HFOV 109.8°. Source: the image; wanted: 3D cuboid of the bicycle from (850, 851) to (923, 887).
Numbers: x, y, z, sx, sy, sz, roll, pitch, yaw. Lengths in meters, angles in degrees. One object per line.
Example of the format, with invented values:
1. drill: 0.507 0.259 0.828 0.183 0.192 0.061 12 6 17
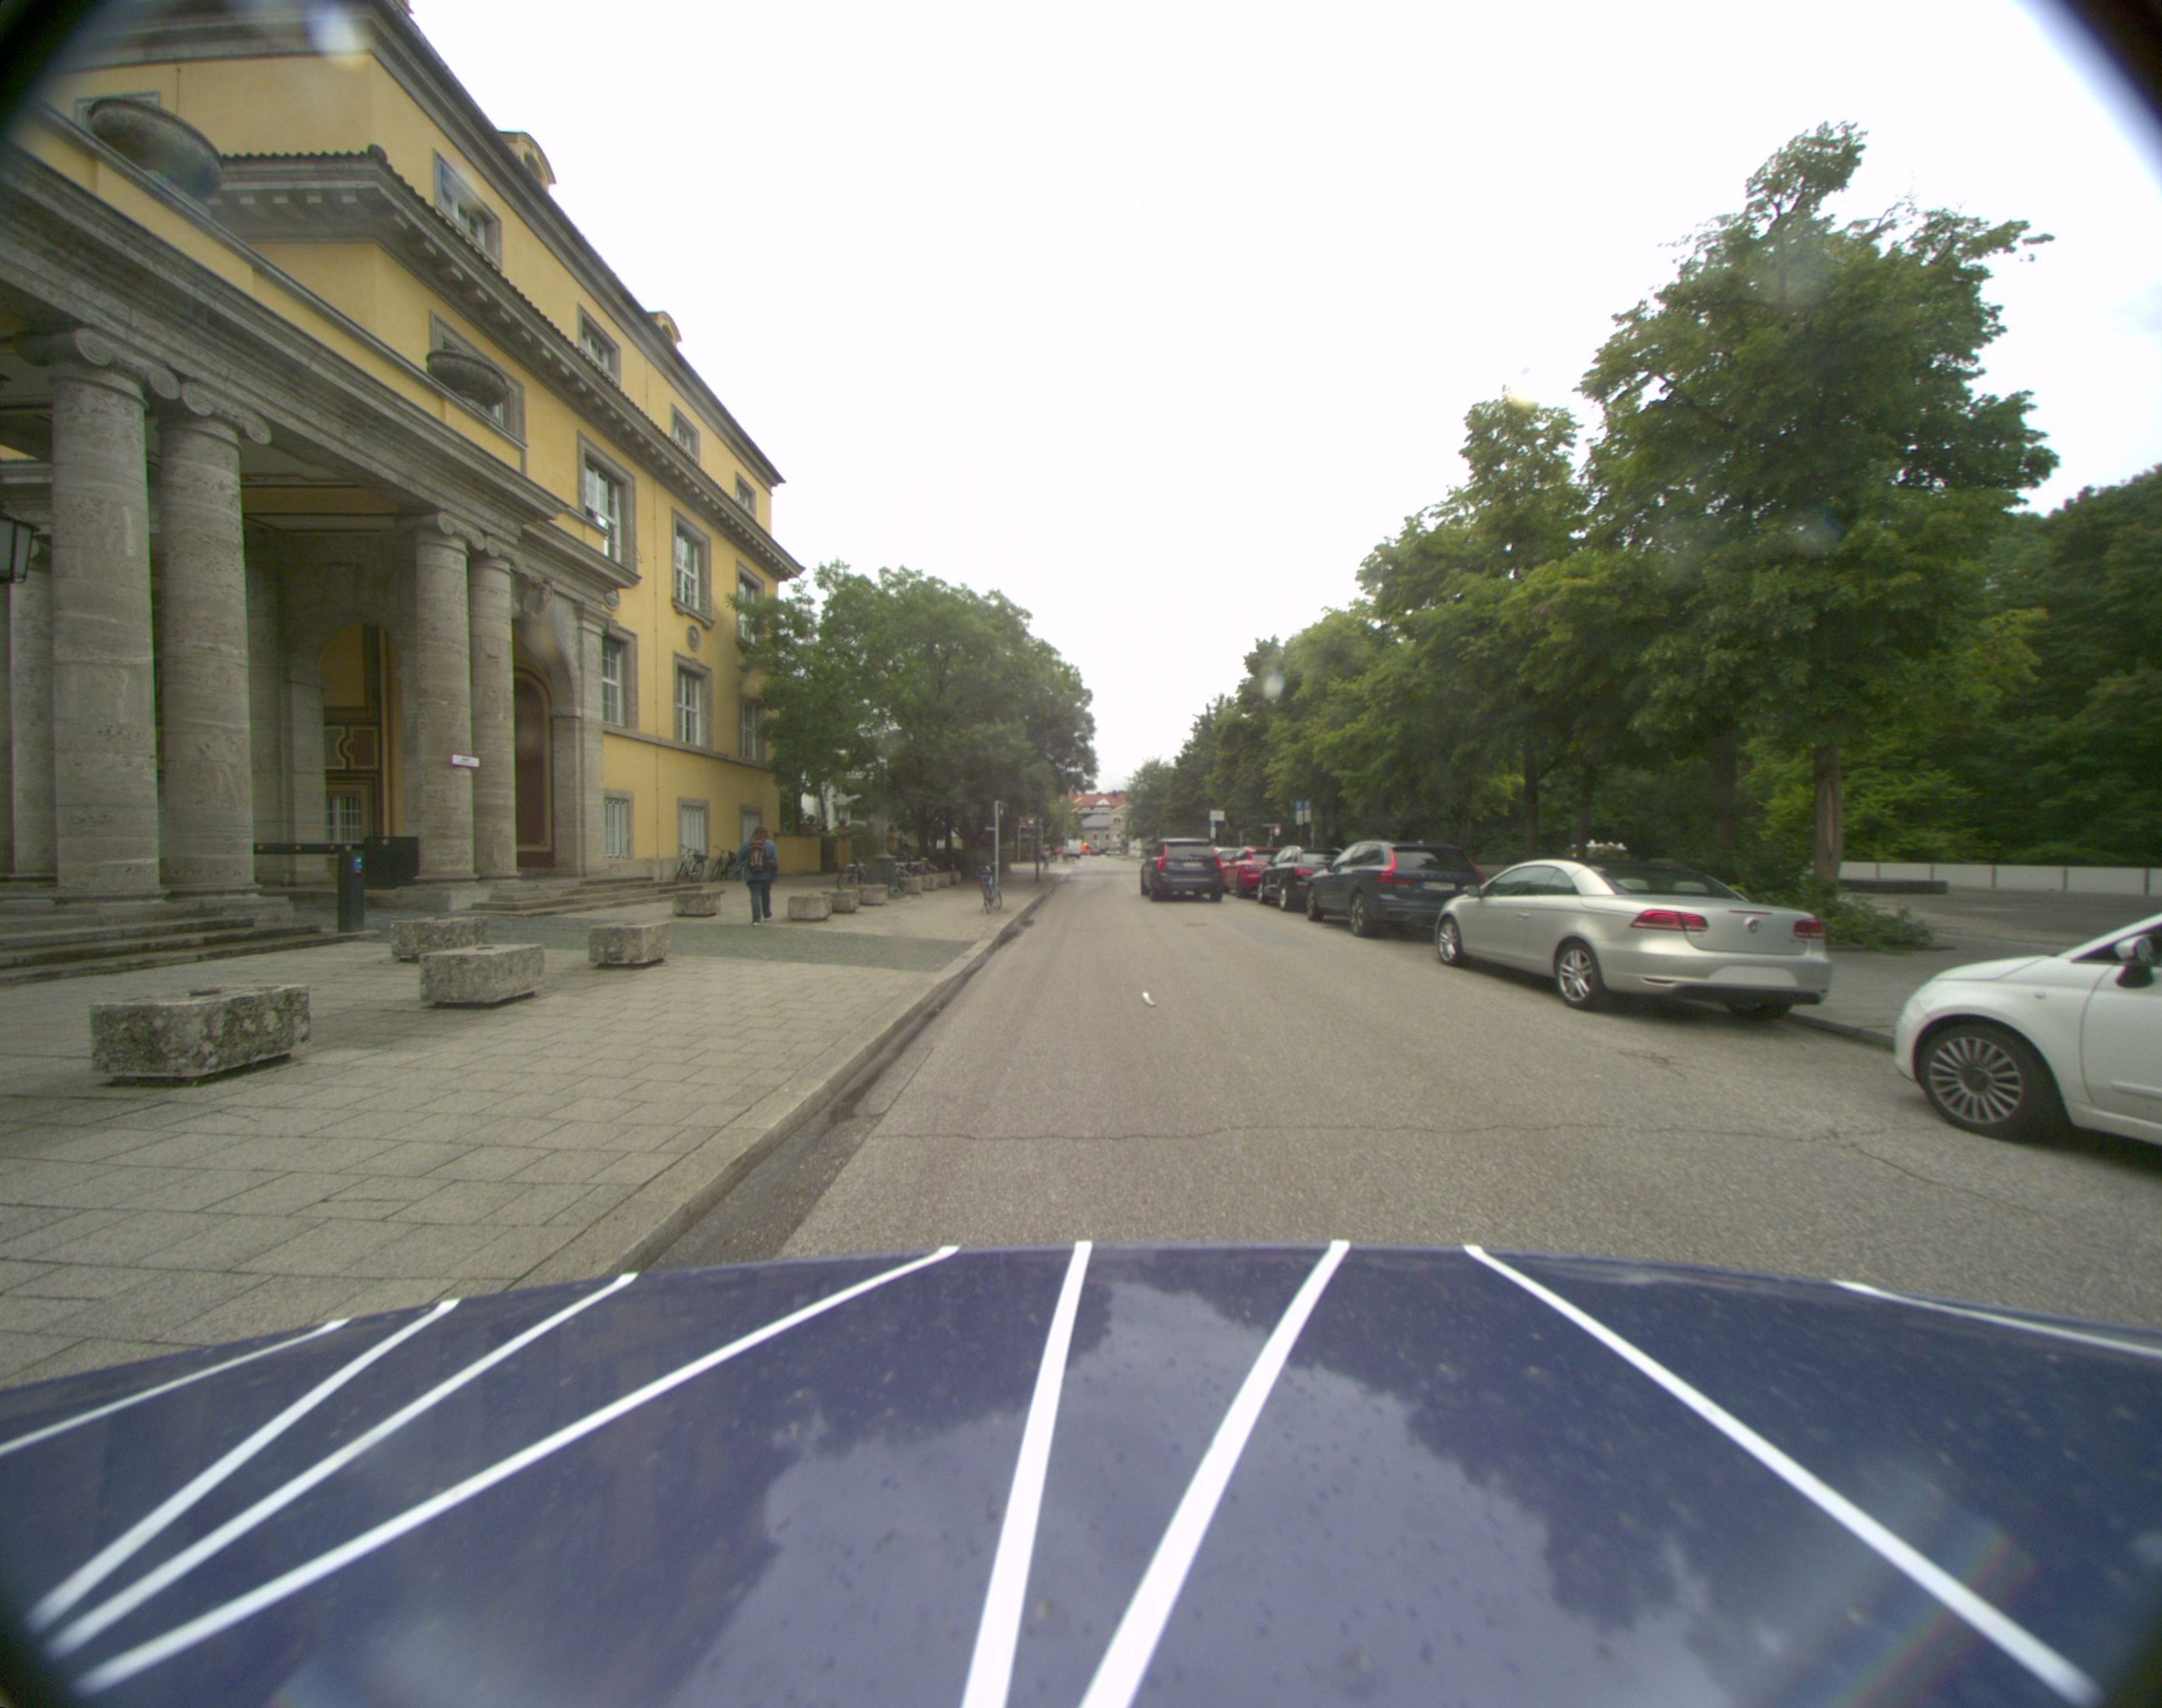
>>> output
1. bicycle: -6.556 0.497 25.658 2.265 1.018 0.601 5 1 -10

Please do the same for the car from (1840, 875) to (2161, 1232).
1. car: 5.380 0.901 2.819 1.547 1.462 3.552 2 1 1

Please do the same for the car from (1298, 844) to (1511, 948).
1. car: 5.596 0.614 13.898 1.998 1.574 4.521 1 1 1

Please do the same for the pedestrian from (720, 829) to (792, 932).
1. pedestrian: -5.664 0.440 13.301 0.790 1.736 1.055 1 1 0

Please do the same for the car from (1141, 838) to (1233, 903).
1. car: 2.957 0.397 22.341 1.965 1.672 4.910 1 1 0

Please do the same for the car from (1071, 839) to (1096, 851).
1. car: 0.607 -2.034 169.085 4.973 2.521 2.577 -1 2 44

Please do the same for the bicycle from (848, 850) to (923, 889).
1. bicycle: -6.348 0.504 24.743 2.265 1.053 0.601 5 1 -10

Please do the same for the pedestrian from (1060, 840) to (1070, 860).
1. pedestrian: -1.512 -0.350 72.309 0.777 1.855 0.997 -3 2 -5

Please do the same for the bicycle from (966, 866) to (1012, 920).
1. bicycle: -2.117 0.875 17.758 0.762 1.094 2.263 2 1 0

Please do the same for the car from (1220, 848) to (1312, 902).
1. car: 5.753 0.582 24.197 1.998 1.535 4.364 1 1 2

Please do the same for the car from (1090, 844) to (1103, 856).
1. car: 2.745 -0.723 136.737 2.222 1.840 4.730 -3 2 1

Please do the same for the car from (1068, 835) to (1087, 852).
1. car: -0.547 -1.469 106.236 2.236 2.289 4.728 -3 2 -4

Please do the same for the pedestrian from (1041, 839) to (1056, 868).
1. pedestrian: -1.960 -0.015 46.296 0.798 1.722 0.660 -3 2 0

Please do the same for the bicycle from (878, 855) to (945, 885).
1. bicycle: -6.188 0.579 27.809 2.261 1.005 0.602 2 1 3

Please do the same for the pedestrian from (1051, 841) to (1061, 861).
1. pedestrian: -2.348 -0.306 72.346 0.777 1.855 0.996 -3 2 -7

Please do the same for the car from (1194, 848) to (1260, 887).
1. car: 5.846 0.483 30.908 1.998 1.452 4.364 1 1 2

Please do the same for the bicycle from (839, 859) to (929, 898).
1. bicycle: -5.617 0.691 21.768 2.370 1.000 0.677 2 1 -8

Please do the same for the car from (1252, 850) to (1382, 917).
1. car: 5.822 0.652 19.390 1.998 1.452 4.647 1 1 2

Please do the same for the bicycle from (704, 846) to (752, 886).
1. bicycle: -11.986 0.387 25.895 0.601 1.299 2.164 1 1 1

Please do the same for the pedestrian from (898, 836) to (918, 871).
1. pedestrian: -9.561 -0.044 42.074 0.782 1.855 1.035 3 2 1

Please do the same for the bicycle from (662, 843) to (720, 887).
1. bicycle: -12.028 0.310 23.535 0.601 1.299 2.264 1 1 1

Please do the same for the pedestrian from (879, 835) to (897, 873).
1. pedestrian: -9.799 -0.005 38.617 0.659 1.855 0.820 3 2 1

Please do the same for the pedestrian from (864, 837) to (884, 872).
1. pedestrian: -10.516 0.003 38.629 0.741 1.734 0.841 3 2 1

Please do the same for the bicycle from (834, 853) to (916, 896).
1. bicycle: -6.181 0.624 22.905 2.265 1.088 0.601 5 1 -10

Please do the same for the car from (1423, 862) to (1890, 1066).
1. car: 5.391 0.871 7.993 1.762 1.392 4.217 3 1 2
